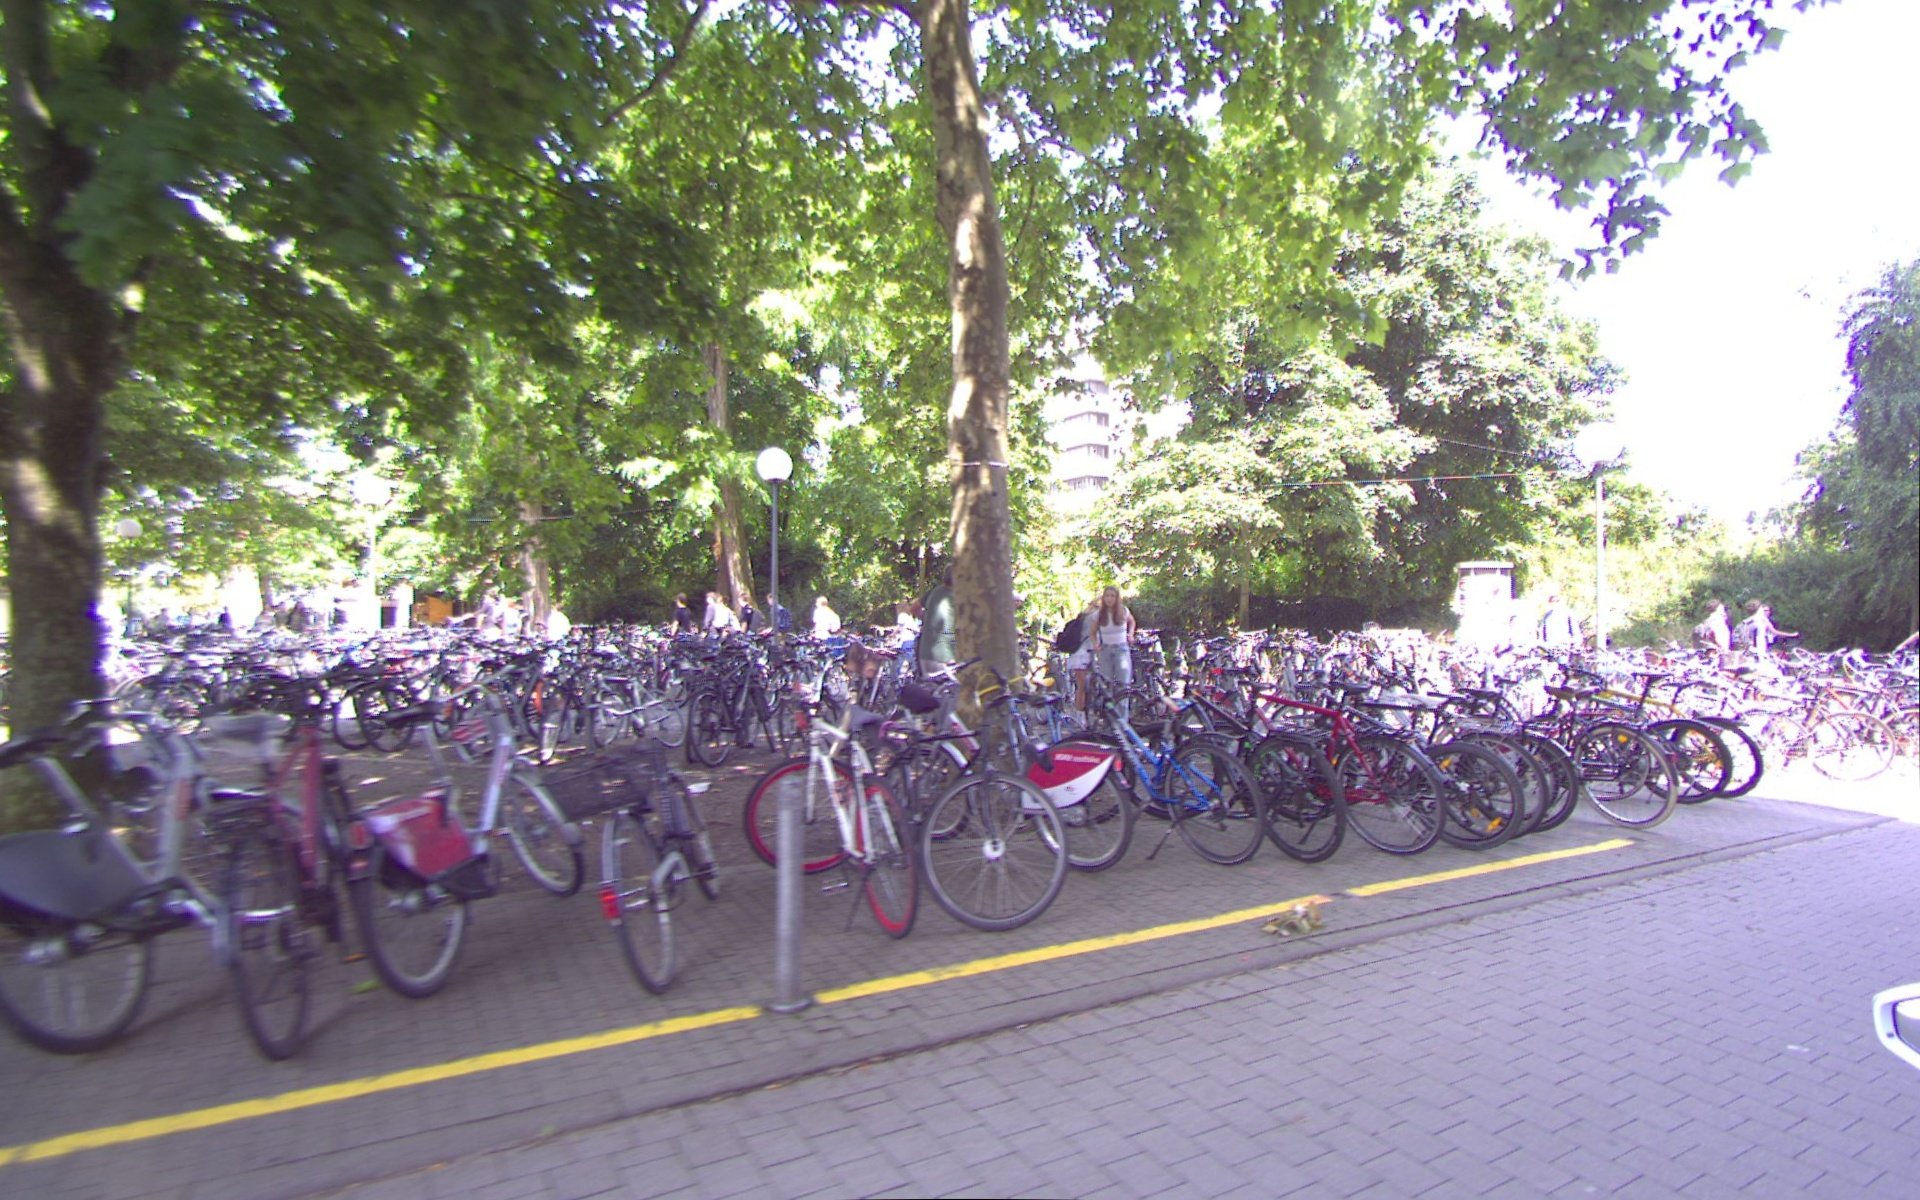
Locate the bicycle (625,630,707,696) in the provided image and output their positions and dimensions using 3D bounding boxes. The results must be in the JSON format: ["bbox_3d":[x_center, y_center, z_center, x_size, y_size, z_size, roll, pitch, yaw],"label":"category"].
[{"bbox_3d":[-5.207,1.090,17.885,0.465,1.098,1.699,1,0,20],"label":"bicycle"}]

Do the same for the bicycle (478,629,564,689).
[{"bbox_3d":[-8.512,1.118,19.528,0.465,1.098,1.699,1,0,20],"label":"bicycle"}]

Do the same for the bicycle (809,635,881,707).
[{"bbox_3d":[-1.887,1.149,16.724,0.465,1.098,1.699,1,0,20],"label":"bicycle"}]

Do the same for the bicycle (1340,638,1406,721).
[{"bbox_3d":[6.107,1.145,14.921,0.464,1.098,1.701,1,0,8],"label":"bicycle"}]

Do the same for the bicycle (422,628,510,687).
[{"bbox_3d":[-9.756,1.114,19.907,0.465,1.098,1.699,1,0,20],"label":"bicycle"}]

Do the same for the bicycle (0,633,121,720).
[{"bbox_3d":[-12.673,1.019,13.574,0.494,1.123,2.002,1,-1,29],"label":"bicycle"}]

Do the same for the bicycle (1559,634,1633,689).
[{"bbox_3d":[14.049,1.340,22.235,0.465,1.125,1.778,1,0,-1],"label":"bicycle"}]

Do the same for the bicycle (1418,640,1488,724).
[{"bbox_3d":[7.112,1.152,14.547,0.464,1.098,1.701,1,0,11],"label":"bicycle"}]

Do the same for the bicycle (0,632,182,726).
[{"bbox_3d":[-11.601,1.003,13.298,0.494,1.123,2.002,1,-1,29],"label":"bicycle"}]

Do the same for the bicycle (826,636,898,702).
[{"bbox_3d":[-1.566,1.094,16.319,0.443,0.974,1.740,1,-1,20],"label":"bicycle"}]

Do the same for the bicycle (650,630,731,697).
[{"bbox_3d":[-4.727,1.099,17.749,0.465,1.098,1.699,1,0,20],"label":"bicycle"}]

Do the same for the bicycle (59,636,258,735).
[{"bbox_3d":[-10.025,1.028,12.649,0.494,1.123,1.903,1,-1,29],"label":"bicycle"}]

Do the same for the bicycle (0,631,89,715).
[{"bbox_3d":[-13.369,1.008,13.851,0.494,1.123,2.002,1,-1,29],"label":"bicycle"}]

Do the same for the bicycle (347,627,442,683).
[{"bbox_3d":[-11.677,1.117,20.778,0.466,1.098,1.696,1,-1,30],"label":"bicycle"}]

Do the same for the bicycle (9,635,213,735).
[{"bbox_3d":[-10.627,1.026,12.662,0.494,1.123,1.903,1,-1,29],"label":"bicycle"}]

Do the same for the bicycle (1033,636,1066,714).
[{"bbox_3d":[1.377,1.130,15.551,0.464,1.098,1.700,1,0,5],"label":"bicycle"}]

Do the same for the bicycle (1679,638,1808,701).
[{"bbox_3d":[14.810,1.295,19.053,1.876,1.061,0.540,1,0,34],"label":"bicycle"}]

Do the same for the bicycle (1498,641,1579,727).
[{"bbox_3d":[8.277,1.173,14.439,0.464,1.098,1.701,1,0,11],"label":"bicycle"}]

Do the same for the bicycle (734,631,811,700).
[{"bbox_3d":[-3.178,1.090,17.167,0.465,1.098,1.699,1,0,20],"label":"bicycle"}]

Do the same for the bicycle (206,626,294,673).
[{"bbox_3d":[-17.215,1.186,24.387,0.466,1.098,1.696,1,-1,30],"label":"bicycle"}]

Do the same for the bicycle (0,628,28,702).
[{"bbox_3d":[-15.306,0.992,14.969,0.493,1.123,2.028,1,-1,27],"label":"bicycle"}]

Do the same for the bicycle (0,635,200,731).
[{"bbox_3d":[-11.120,1.034,13.071,0.494,1.123,1.903,1,-1,29],"label":"bicycle"}]

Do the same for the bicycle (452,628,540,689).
[{"bbox_3d":[-9.037,1.115,19.633,0.465,1.098,1.699,1,0,20],"label":"bicycle"}]

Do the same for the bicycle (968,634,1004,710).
[{"bbox_3d":[0.431,1.111,16.043,0.464,1.098,1.700,1,0,5],"label":"bicycle"}]

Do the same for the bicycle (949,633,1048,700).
[{"bbox_3d":[0.687,1.163,17.843,1.665,1.098,0.604,1,0,12],"label":"bicycle"}]

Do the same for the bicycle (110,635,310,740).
[{"bbox_3d":[-8.961,1.001,12.097,0.493,1.123,1.905,1,-1,26],"label":"bicycle"}]

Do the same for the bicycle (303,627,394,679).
[{"bbox_3d":[-13.450,1.146,22.142,0.466,1.098,1.696,1,-1,30],"label":"bicycle"}]

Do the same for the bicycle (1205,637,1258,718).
[{"bbox_3d":[4.074,1.137,15.147,0.464,1.098,1.700,1,0,5],"label":"bicycle"}]

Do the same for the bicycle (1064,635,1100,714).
[{"bbox_3d":[1.865,1.117,15.480,0.464,1.098,1.700,1,0,5],"label":"bicycle"}]

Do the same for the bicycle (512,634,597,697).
[{"bbox_3d":[-7.651,1.208,19.033,0.465,1.098,1.699,1,0,20],"label":"bicycle"}]

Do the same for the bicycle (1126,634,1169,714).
[{"bbox_3d":[2.846,1.100,15.372,0.464,1.098,1.700,1,0,5],"label":"bicycle"}]

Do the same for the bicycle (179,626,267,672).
[{"bbox_3d":[-18.202,1.192,24.838,0.466,1.098,1.696,1,-1,30],"label":"bicycle"}]

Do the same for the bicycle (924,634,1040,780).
[{"bbox_3d":[0.248,0.951,9.553,0.564,1.215,1.699,1,0,20],"label":"bicycle"}]

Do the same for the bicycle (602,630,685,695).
[{"bbox_3d":[-5.671,1.096,18.078,0.465,1.098,1.699,1,0,20],"label":"bicycle"}]

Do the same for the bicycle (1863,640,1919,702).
[{"bbox_3d":[18.012,1.333,18.957,1.813,1.125,0.473,1,0,-13],"label":"bicycle"}]

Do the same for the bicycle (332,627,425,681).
[{"bbox_3d":[-12.414,1.136,21.489,0.466,1.098,1.696,1,-1,30],"label":"bicycle"}]

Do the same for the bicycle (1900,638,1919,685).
[{"bbox_3d":[22.782,1.466,23.477,0.465,1.061,1.699,2,1,19],"label":"bicycle"}]

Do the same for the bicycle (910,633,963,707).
[{"bbox_3d":[-0.358,1.108,16.304,0.464,1.098,1.701,1,0,12],"label":"bicycle"}]

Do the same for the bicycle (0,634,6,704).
[{"bbox_3d":[-15.983,1.083,15.317,0.493,1.123,2.028,1,-1,27],"label":"bicycle"}]

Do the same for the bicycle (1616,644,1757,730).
[{"bbox_3d":[10.354,1.215,14.398,0.466,1.098,1.718,1,0,-15],"label":"bicycle"}]

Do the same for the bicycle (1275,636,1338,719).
[{"bbox_3d":[5.097,1.115,14.861,0.464,1.098,1.700,1,0,5],"label":"bicycle"}]

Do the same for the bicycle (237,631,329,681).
[{"bbox_3d":[-15.553,1.269,23.120,0.466,1.098,1.696,1,-1,30],"label":"bicycle"}]

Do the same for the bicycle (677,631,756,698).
[{"bbox_3d":[-4.260,1.103,17.668,0.465,1.098,1.699,1,0,20],"label":"bicycle"}]

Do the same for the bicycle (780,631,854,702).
[{"bbox_3d":[-2.397,1.093,16.978,0.465,1.098,1.699,1,0,20],"label":"bicycle"}]

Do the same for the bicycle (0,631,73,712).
[{"bbox_3d":[-13.872,1.013,14.153,0.494,1.123,2.002,1,-1,29],"label":"bicycle"}]

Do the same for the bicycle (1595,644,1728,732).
[{"bbox_3d":[9.847,1.206,14.181,0.466,1.098,1.696,1,0,-10],"label":"bicycle"}]

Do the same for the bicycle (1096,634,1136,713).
[{"bbox_3d":[2.383,1.098,15.428,0.464,1.098,1.700,1,0,5],"label":"bicycle"}]

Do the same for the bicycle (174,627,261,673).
[{"bbox_3d":[-18.585,1.228,25.176,0.466,1.098,1.696,1,-1,30],"label":"bicycle"}]

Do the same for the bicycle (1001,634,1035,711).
[{"bbox_3d":[0.934,1.113,15.872,0.464,1.098,1.700,1,0,5],"label":"bicycle"}]

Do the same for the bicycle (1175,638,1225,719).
[{"bbox_3d":[3.600,1.145,15.179,0.464,1.098,1.700,1,0,5],"label":"bicycle"}]

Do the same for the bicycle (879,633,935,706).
[{"bbox_3d":[-0.845,1.109,16.481,0.464,1.098,1.701,1,0,12],"label":"bicycle"}]

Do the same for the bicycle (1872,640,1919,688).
[{"bbox_3d":[22.172,1.483,23.581,0.465,1.061,1.700,1,-1,19],"label":"bicycle"}]

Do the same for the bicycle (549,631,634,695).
[{"bbox_3d":[-6.785,1.133,18.588,0.465,1.098,1.699,1,0,20],"label":"bicycle"}]

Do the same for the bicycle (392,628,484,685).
[{"bbox_3d":[-10.567,1.123,20.400,0.465,1.098,1.698,1,-1,26],"label":"bicycle"}]

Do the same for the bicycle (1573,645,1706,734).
[{"bbox_3d":[9.374,1.209,13.944,0.466,1.098,1.696,1,0,-10],"label":"bicycle"}]

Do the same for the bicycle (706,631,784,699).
[{"bbox_3d":[-3.707,1.098,17.418,0.465,1.098,1.699,1,0,20],"label":"bicycle"}]

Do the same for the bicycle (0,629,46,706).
[{"bbox_3d":[-14.766,1.005,14.687,0.493,1.123,2.028,1,-1,27],"label":"bicycle"}]

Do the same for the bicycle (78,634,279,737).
[{"bbox_3d":[-9.469,0.990,12.269,0.493,1.123,1.905,1,-1,26],"label":"bicycle"}]

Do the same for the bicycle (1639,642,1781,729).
[{"bbox_3d":[10.833,1.201,14.583,0.466,1.125,1.693,1,0,-17],"label":"bicycle"}]
